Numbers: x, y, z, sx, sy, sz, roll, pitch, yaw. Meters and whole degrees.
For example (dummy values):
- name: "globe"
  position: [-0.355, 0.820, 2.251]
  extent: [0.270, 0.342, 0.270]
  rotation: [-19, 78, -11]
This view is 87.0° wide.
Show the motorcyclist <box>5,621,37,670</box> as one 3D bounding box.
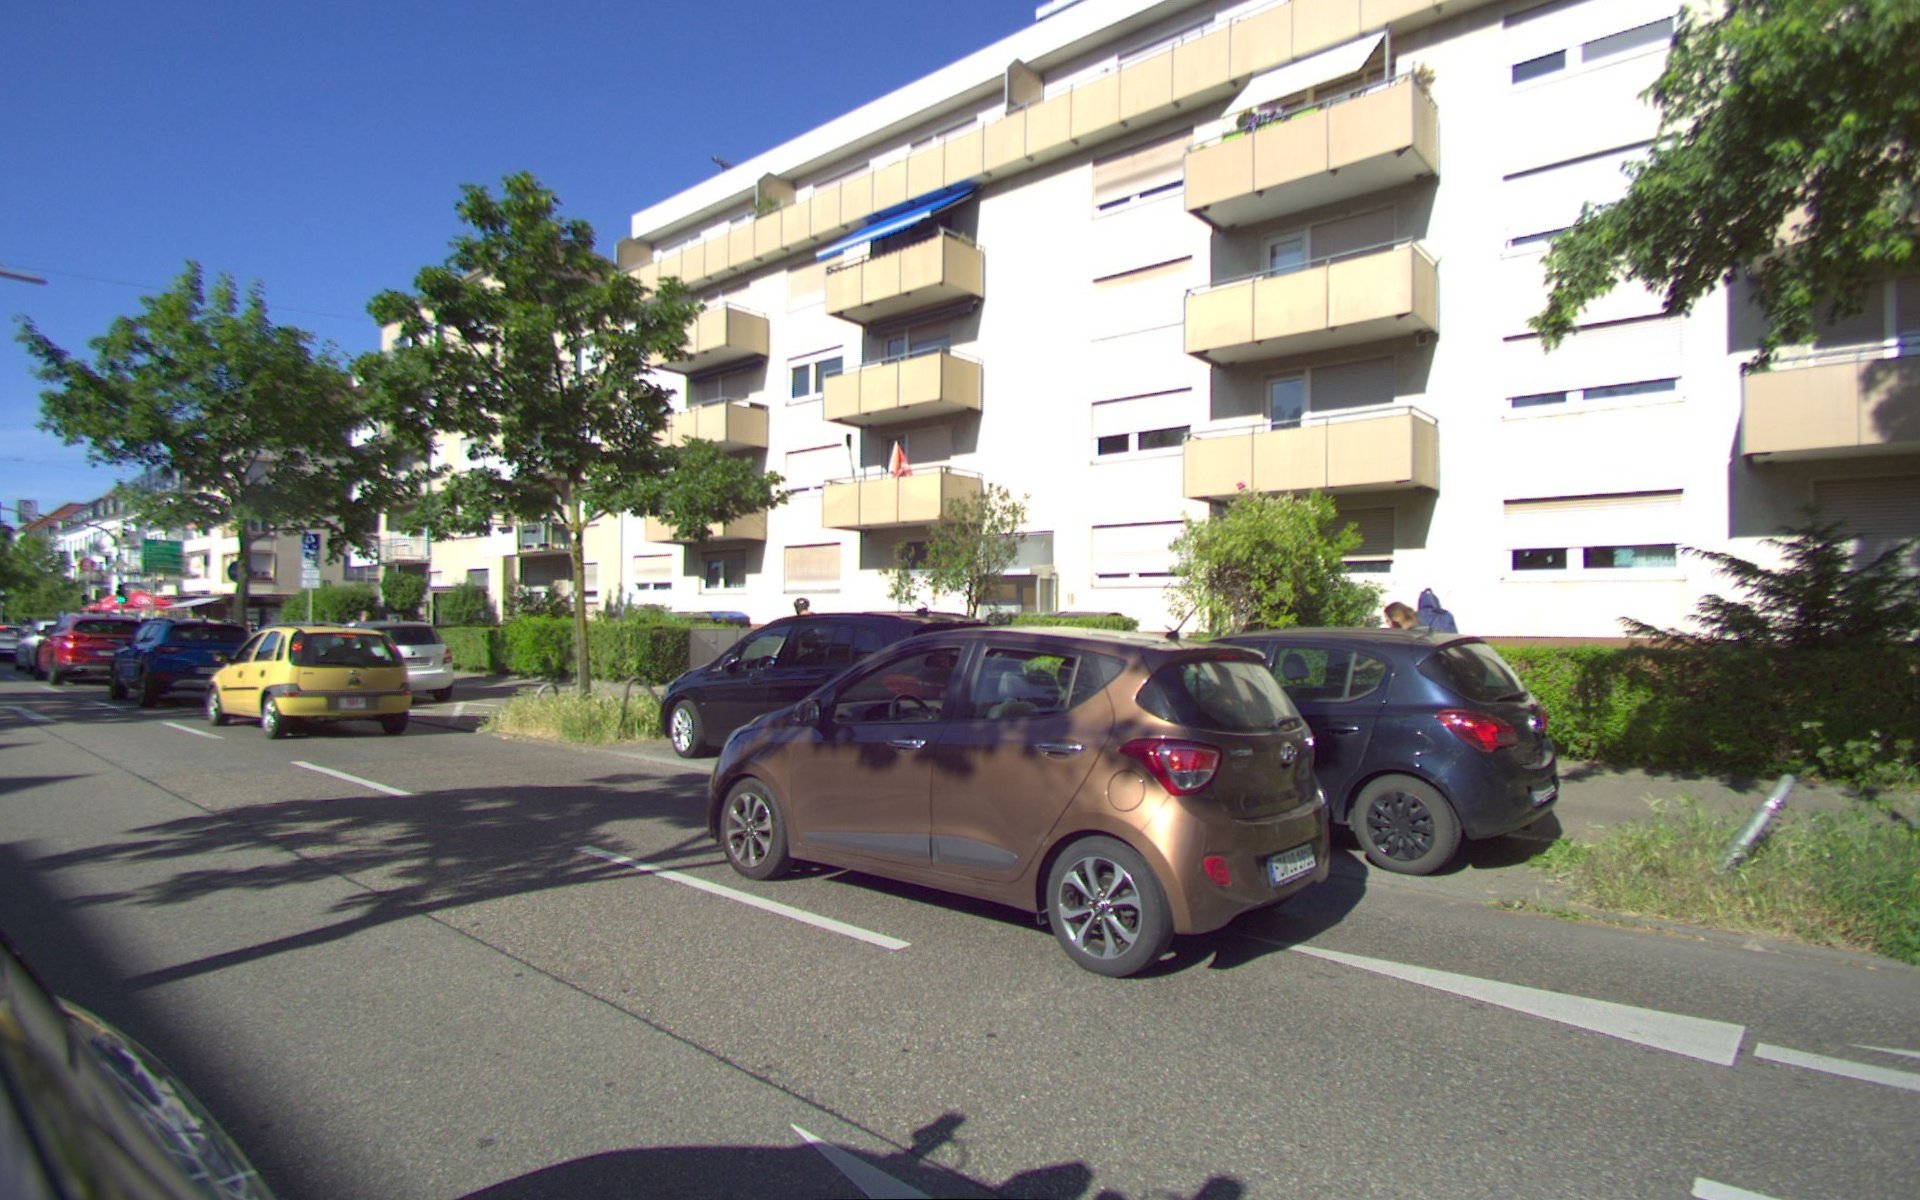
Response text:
- name: "motorcyclist"
  position: [-32.586, 1.583, 35.117]
  extent: [0.720, 1.659, 0.918]
  rotation: [5, -5, -44]

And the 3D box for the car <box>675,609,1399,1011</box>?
- name: "car"
  position: [0.213, 0.841, 5.536]
  extent: [3.742, 1.463, 1.565]
  rotation: [-1, -4, 41]

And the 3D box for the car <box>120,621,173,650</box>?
- name: "car"
  position: [-47.720, 2.077, 59.326]
  extent: [4.303, 1.635, 1.742]
  rotation: [-1, -2, 42]

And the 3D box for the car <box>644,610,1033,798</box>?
- name: "car"
  position: [-1.465, 0.938, 10.843]
  extent: [4.393, 1.617, 1.652]
  rotation: [-1, -1, 42]

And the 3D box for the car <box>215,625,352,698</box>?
- name: "car"
  position: [-15.228, 1.320, 22.703]
  extent: [3.892, 1.487, 1.489]
  rotation: [-1, -1, 39]

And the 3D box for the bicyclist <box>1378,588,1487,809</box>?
- name: "bicyclist"
  position: [4.000, 0.798, 8.566]
  extent: [0.691, 1.767, 0.602]
  rotation: [-1, -2, 41]

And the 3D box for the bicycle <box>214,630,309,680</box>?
- name: "bicycle"
  position: [-17.076, 1.316, 24.764]
  extent: [0.559, 1.095, 1.808]
  rotation: [-1, 1, 40]

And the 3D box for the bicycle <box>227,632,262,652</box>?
- name: "bicycle"
  position: [-40.619, 2.386, 57.461]
  extent: [0.449, 1.085, 1.545]
  rotation: [-1, -2, 39]

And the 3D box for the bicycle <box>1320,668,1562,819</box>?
- name: "bicycle"
  position: [4.011, 1.152, 8.534]
  extent: [1.742, 1.081, 0.602]
  rotation: [-1, -2, 41]

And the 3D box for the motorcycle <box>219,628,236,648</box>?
- name: "motorcycle"
  position: [-49.266, 2.546, 68.072]
  extent: [1.763, 1.378, 0.562]
  rotation: [-1, -3, 43]

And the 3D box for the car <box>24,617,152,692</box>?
- name: "car"
  position: [-20.849, 1.296, 24.138]
  extent: [4.298, 1.629, 1.703]
  rotation: [-2, -5, 42]

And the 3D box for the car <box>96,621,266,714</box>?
- name: "car"
  position: [-14.370, 1.193, 18.593]
  extent: [4.074, 1.529, 1.638]
  rotation: [-1, -4, 41]

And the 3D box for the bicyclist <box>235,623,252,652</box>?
- name: "bicyclist"
  position: [-40.652, 2.123, 57.419]
  extent: [0.578, 1.619, 0.677]
  rotation: [-1, -2, 39]

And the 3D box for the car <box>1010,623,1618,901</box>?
- name: "car"
  position: [2.384, 0.930, 7.473]
  extent: [3.931, 1.488, 1.584]
  rotation: [-1, -1, 43]

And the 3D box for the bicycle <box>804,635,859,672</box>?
- name: "bicycle"
  position: [-3.423, 1.405, 26.936]
  extent: [1.654, 0.948, 0.476]
  rotation: [-1, -3, 41]

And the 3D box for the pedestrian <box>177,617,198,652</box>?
- name: "pedestrian"
  position: [-37.017, 1.653, 48.506]
  extent: [0.682, 1.671, 0.650]
  rotation: [-1, -2, 42]

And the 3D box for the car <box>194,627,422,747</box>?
- name: "car"
  position: [-9.065, 1.117, 13.978]
  extent: [3.734, 1.414, 1.617]
  rotation: [-1, -4, 41]

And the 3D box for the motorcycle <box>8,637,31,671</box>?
- name: "motorcycle"
  position: [-32.613, 1.858, 35.083]
  extent: [0.442, 1.130, 1.934]
  rotation: [5, -5, -45]

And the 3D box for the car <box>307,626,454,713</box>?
- name: "car"
  position: [-11.142, 1.257, 19.356]
  extent: [3.685, 1.500, 1.386]
  rotation: [-1, -1, 42]

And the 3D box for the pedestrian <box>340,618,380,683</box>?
- name: "pedestrian"
  position: [-16.258, 1.354, 27.433]
  extent: [0.929, 1.699, 0.662]
  rotation: [-1, -1, 40]

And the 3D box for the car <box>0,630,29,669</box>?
- name: "car"
  position: [-36.584, 1.815, 38.062]
  extent: [4.503, 1.417, 1.680]
  rotation: [-1, -4, 40]

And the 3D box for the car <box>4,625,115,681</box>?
- name: "car"
  position: [-26.005, 1.498, 29.166]
  extent: [4.776, 1.476, 1.794]
  rotation: [-1, -4, 42]

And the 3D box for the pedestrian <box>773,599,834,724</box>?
- name: "pedestrian"
  position: [-2.157, 0.826, 13.935]
  extent: [0.719, 1.663, 0.464]
  rotation: [-1, -1, 42]
